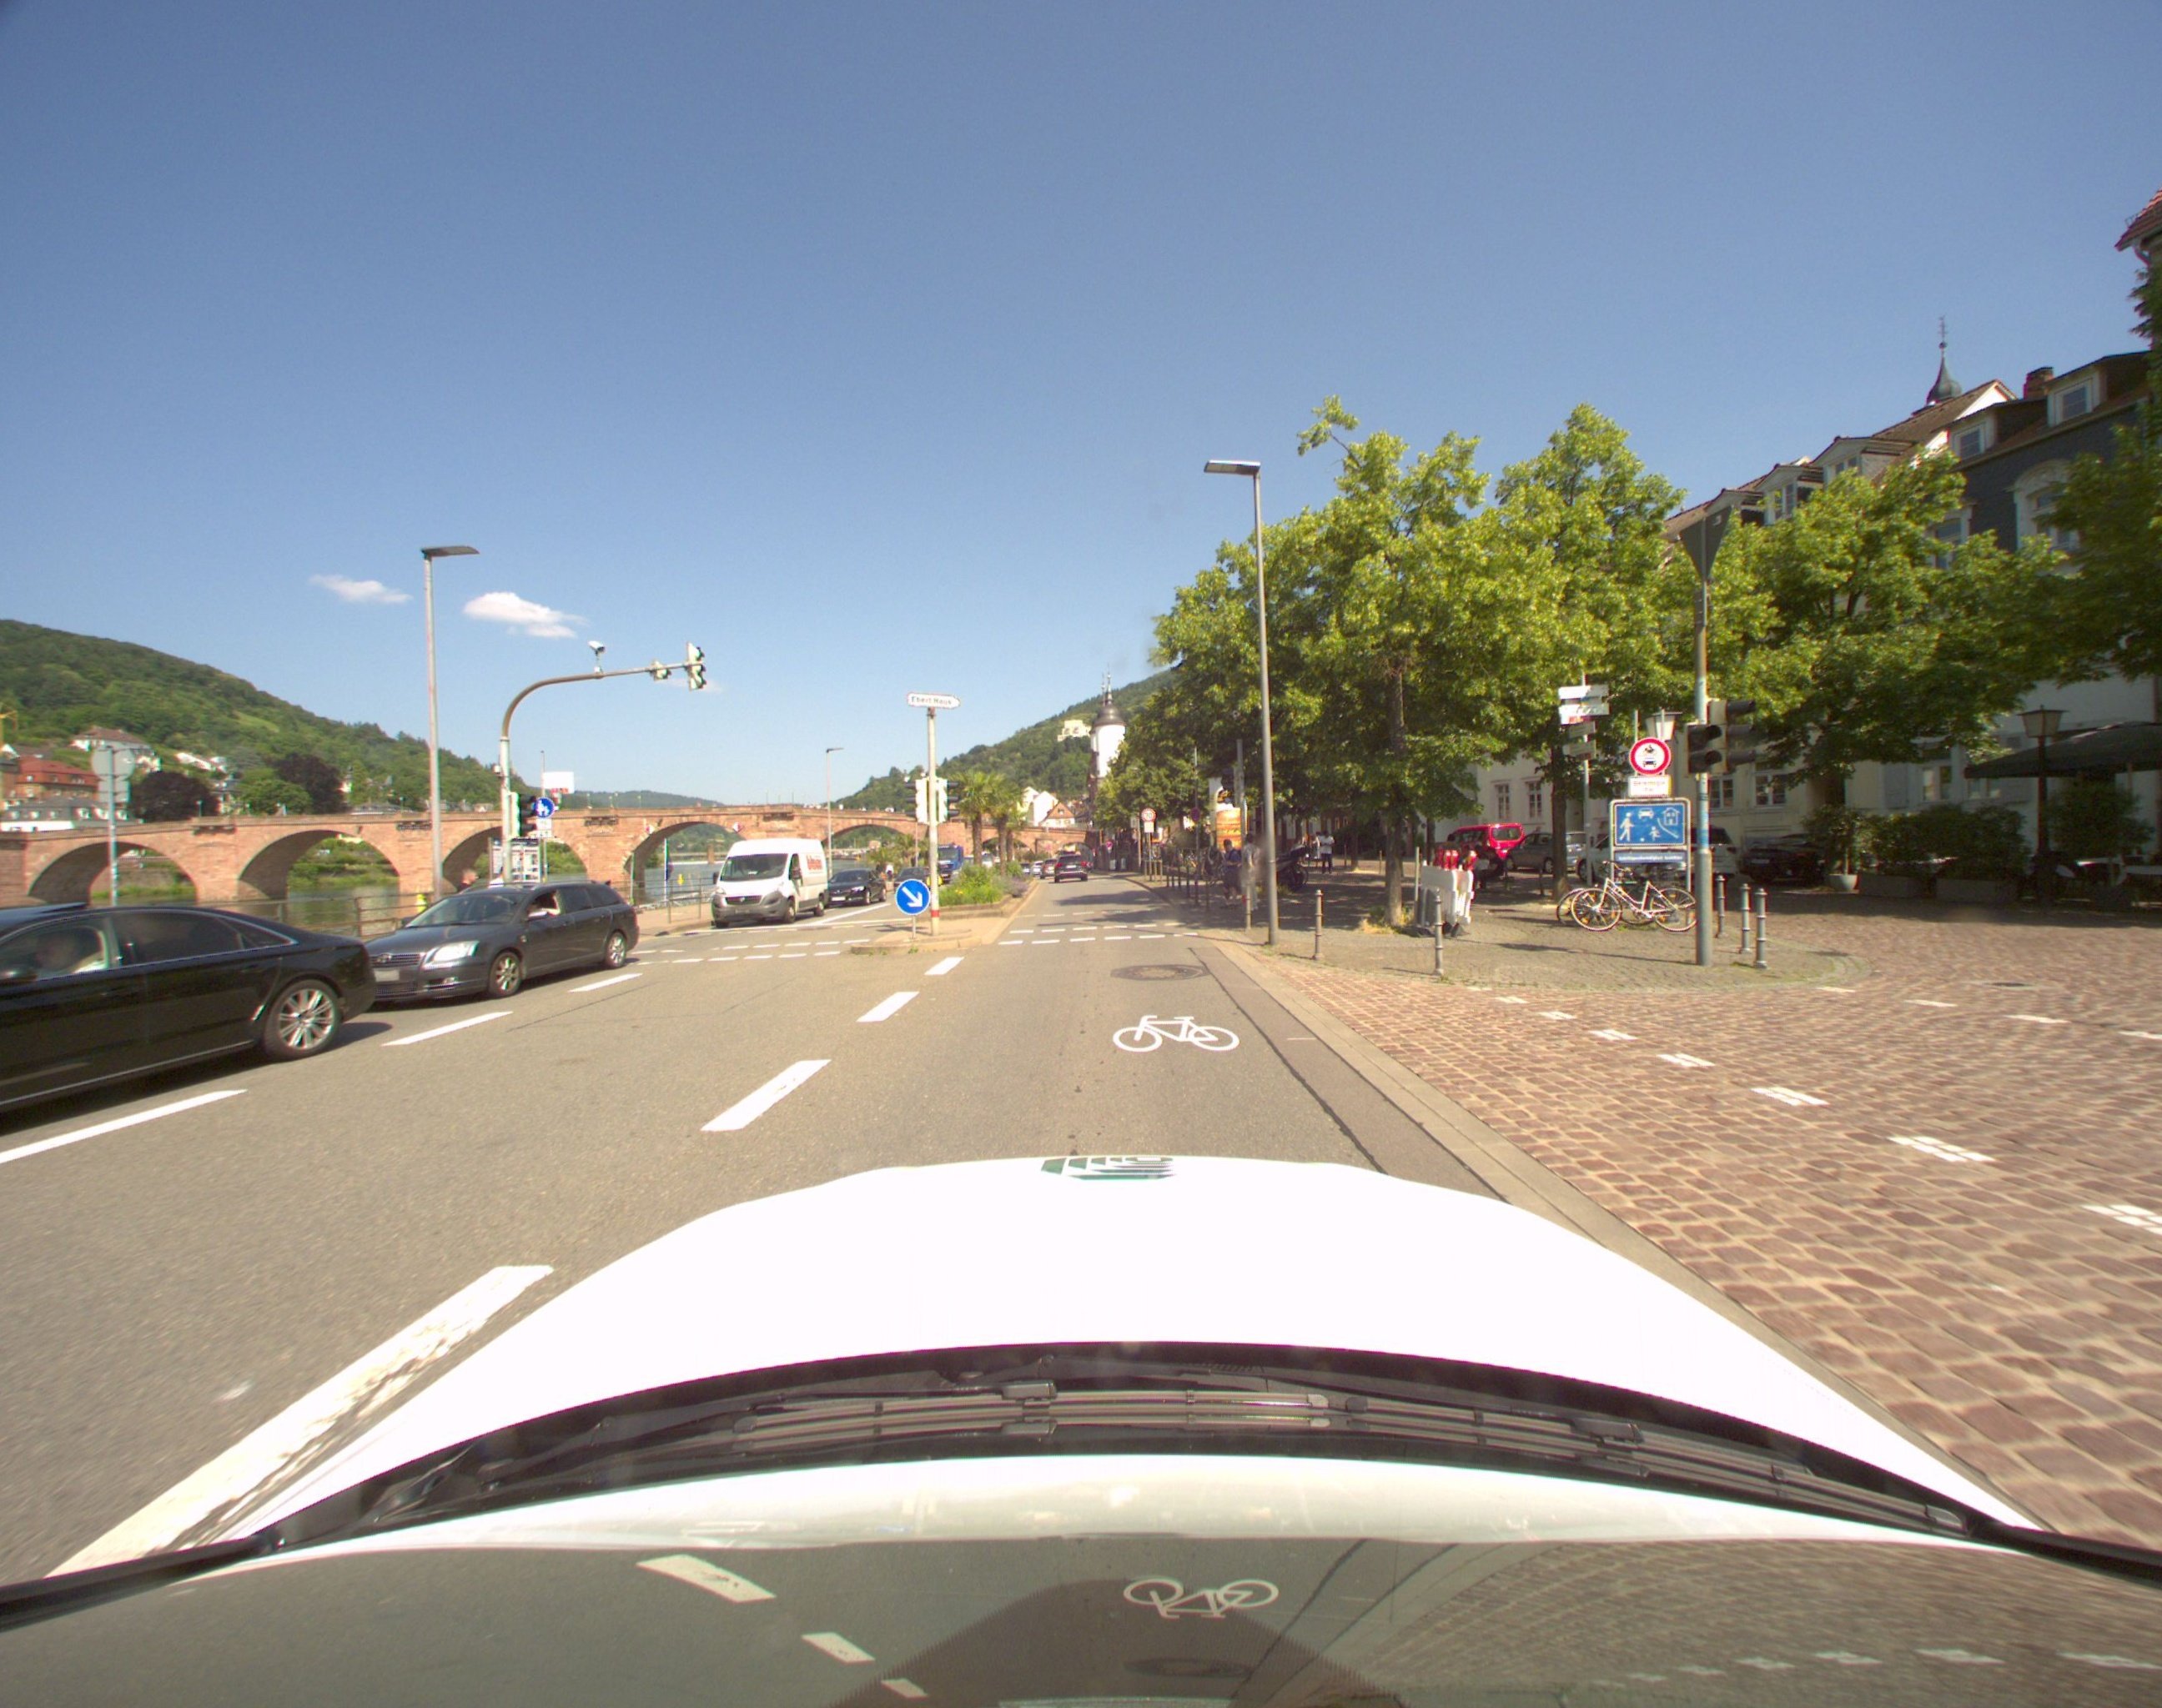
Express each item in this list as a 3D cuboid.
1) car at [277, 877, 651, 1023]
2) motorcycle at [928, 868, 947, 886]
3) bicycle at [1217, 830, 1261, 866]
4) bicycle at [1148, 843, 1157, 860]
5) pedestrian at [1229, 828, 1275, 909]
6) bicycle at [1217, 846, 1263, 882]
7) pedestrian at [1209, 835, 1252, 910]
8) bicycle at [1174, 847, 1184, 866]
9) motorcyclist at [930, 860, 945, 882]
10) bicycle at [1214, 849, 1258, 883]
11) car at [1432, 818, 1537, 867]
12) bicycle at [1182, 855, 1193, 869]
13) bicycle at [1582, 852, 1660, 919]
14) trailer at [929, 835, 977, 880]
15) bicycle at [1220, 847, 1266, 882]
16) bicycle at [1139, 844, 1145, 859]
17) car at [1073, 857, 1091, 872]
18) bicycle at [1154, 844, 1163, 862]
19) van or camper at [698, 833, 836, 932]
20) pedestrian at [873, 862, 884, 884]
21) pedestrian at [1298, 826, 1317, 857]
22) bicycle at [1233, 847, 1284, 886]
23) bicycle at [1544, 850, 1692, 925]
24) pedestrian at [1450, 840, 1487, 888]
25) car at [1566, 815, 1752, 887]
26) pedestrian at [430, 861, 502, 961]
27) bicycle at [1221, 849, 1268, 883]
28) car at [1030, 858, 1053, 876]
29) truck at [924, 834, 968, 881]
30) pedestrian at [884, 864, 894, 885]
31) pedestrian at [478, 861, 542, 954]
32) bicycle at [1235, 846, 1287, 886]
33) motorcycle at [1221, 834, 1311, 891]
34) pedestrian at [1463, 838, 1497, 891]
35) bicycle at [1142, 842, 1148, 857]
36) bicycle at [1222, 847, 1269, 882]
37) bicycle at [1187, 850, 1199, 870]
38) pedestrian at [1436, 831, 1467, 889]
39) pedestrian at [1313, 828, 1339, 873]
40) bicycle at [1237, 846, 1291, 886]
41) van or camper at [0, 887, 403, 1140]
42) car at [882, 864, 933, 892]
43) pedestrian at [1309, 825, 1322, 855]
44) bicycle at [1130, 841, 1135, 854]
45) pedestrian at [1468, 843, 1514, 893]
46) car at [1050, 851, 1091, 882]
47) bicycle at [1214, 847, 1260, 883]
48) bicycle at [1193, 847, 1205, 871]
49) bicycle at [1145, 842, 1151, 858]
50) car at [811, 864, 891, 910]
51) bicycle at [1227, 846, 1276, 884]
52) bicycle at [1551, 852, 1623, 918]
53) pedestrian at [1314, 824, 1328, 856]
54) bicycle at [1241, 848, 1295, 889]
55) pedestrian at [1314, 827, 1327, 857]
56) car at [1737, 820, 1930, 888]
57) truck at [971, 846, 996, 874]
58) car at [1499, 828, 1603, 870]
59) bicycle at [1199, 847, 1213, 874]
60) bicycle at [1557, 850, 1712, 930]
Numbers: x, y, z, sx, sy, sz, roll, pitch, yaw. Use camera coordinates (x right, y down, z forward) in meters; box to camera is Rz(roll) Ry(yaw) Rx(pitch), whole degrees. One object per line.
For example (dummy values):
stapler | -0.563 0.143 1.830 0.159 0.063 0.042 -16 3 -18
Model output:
car | -8.469 1.194 11.883 1.947 1.408 4.567 -4 0 -2
motorcycle | -9.799 1.554 55.762 0.755 1.131 2.456 -2 0 1
bicycle | 6.906 -0.266 35.637 1.826 1.483 0.285 -2 0 -4
bicycle | 4.711 -0.182 53.703 0.274 1.096 1.488 -7 0 -1
pedestrian | 3.913 0.318 18.685 0.693 1.771 0.762 -4 1 -9
bicycle | 5.478 0.356 27.993 1.482 1.120 0.250 -4 0 -7
pedestrian | 3.484 0.416 19.039 0.693 1.677 0.762 -4 1 -9
bicycle | 5.109 0.118 42.533 0.249 1.000 1.487 0 0 -3
motorcyclist | -9.802 1.136 55.661 0.733 1.470 1.011 -2 0 0
bicycle | 5.432 0.410 28.568 1.482 1.120 0.250 -2 0 -7
car | 17.151 -0.505 34.900 1.989 1.902 4.628 -2 1 -3
bicycle | 5.171 0.372 39.490 0.249 0.664 1.468 -2 0 -3
bicycle | 9.579 0.522 14.523 0.589 1.067 2.075 -2 0 18
trailer | -10.501 0.239 67.746 2.650 3.403 8.822 -2 0 -1
bicycle | 5.524 0.351 27.774 1.482 1.120 0.250 -3 0 -7
bicycle | 4.507 -0.158 60.118 0.249 1.096 1.488 0 0 -1
car | 0.148 1.179 94.962 1.712 1.596 3.899 -2 0 4
bicycle | 4.751 -0.078 50.134 0.344 1.096 1.488 0 0 -2
van or camper | -9.019 0.766 24.009 1.989 2.449 5.489 -3 0 -2
pedestrian | -16.903 1.562 68.088 0.761 1.780 0.694 -2 0 -9
pedestrian | 14.197 -0.774 51.077 0.966 1.915 0.747 -2 0 -1
bicycle | 5.482 0.381 25.194 1.482 1.120 0.293 -3 0 -7
bicycle | 8.782 0.535 13.375 1.999 1.198 0.523 0 1 10
pedestrian | 10.665 0.270 22.428 0.625 1.281 0.752 0 0 -9
car | 15.613 -0.113 22.367 1.764 1.728 4.565 -1 1 -2
pedestrian | -11.483 1.055 15.232 0.693 1.780 0.762 4 -1 -9
bicycle | 5.443 0.395 27.046 1.482 1.047 0.250 -3 0 -7
car | -3.769 1.240 78.439 1.988 1.553 4.830 -2 1 -1
truck | -10.420 0.240 63.372 2.650 3.403 4.448 -2 0 -1
pedestrian | -16.071 1.704 68.179 0.761 1.780 0.694 -2 0 -9
pedestrian | -11.477 1.059 16.395 0.693 1.780 0.762 4 -1 -9
bicycle | 5.510 0.355 24.898 1.482 1.120 0.293 -3 0 -7
motorcycle | 5.126 0.245 22.660 2.269 1.465 0.769 -3 -1 39
pedestrian | 10.634 0.268 21.704 0.625 1.382 0.540 0 0 -9
bicycle | 4.575 -0.326 58.031 0.249 1.096 1.488 0 0 -1
bicycle | 5.566 0.354 27.557 1.482 1.120 0.250 -3 0 -7
bicycle | 5.207 0.288 37.937 0.249 0.904 1.487 -2 0 -3
pedestrian | 10.011 0.155 22.024 0.459 1.517 0.688 -1 0 -9
pedestrian | 9.335 -0.139 31.072 0.705 1.653 0.706 -2 0 -2
bicycle | 5.477 0.357 24.399 1.482 1.120 0.377 -3 0 -7
van or camper | -7.879 1.128 5.736 1.988 1.476 5.062 -3 0 -2
car | -9.895 1.362 46.799 1.946 1.412 4.218 -4 -1 0
pedestrian | 15.586 -0.932 54.180 0.584 2.013 0.596 -3 0 -2
bicycle | 4.359 -0.553 68.735 0.354 1.096 1.490 0 0 4
pedestrian | 10.500 0.349 20.867 0.693 1.252 0.762 -2 0 -9
car | -0.647 0.646 45.506 1.923 1.553 4.825 -2 1 -4
bicycle | 5.425 0.378 28.269 1.482 1.120 0.250 -5 0 -7
bicycle | 5.256 0.219 36.350 0.249 1.010 1.487 -2 0 -3
bicycle | 4.621 -0.301 56.105 0.249 1.096 1.488 0 0 -1
car | -9.108 1.253 32.668 1.814 1.455 4.925 -4 0 -2
bicycle | 5.457 0.358 26.018 1.482 1.120 0.250 -3 0 -7
bicycle | 9.112 0.520 14.754 0.589 1.067 2.075 -2 0 18
pedestrian | 15.237 -0.883 51.774 0.633 2.013 0.644 -2 0 -1
bicycle | 5.519 0.437 24.018 1.481 1.120 0.294 -3 0 -4
pedestrian | 14.972 -0.773 50.937 0.584 1.840 0.596 -2 0 -2
car | 19.578 -0.035 21.268 3.733 1.432 1.620 -4 3 -4
truck | -12.069 0.716 101.429 2.652 3.403 5.128 -2 0 -4
car | 17.260 -0.174 30.077 1.671 1.432 3.467 -2 0 -4
bicycle | 5.341 0.255 34.812 0.249 1.120 1.487 -2 0 -3
bicycle | 8.704 0.548 12.871 1.986 1.198 0.523 1 1 10
